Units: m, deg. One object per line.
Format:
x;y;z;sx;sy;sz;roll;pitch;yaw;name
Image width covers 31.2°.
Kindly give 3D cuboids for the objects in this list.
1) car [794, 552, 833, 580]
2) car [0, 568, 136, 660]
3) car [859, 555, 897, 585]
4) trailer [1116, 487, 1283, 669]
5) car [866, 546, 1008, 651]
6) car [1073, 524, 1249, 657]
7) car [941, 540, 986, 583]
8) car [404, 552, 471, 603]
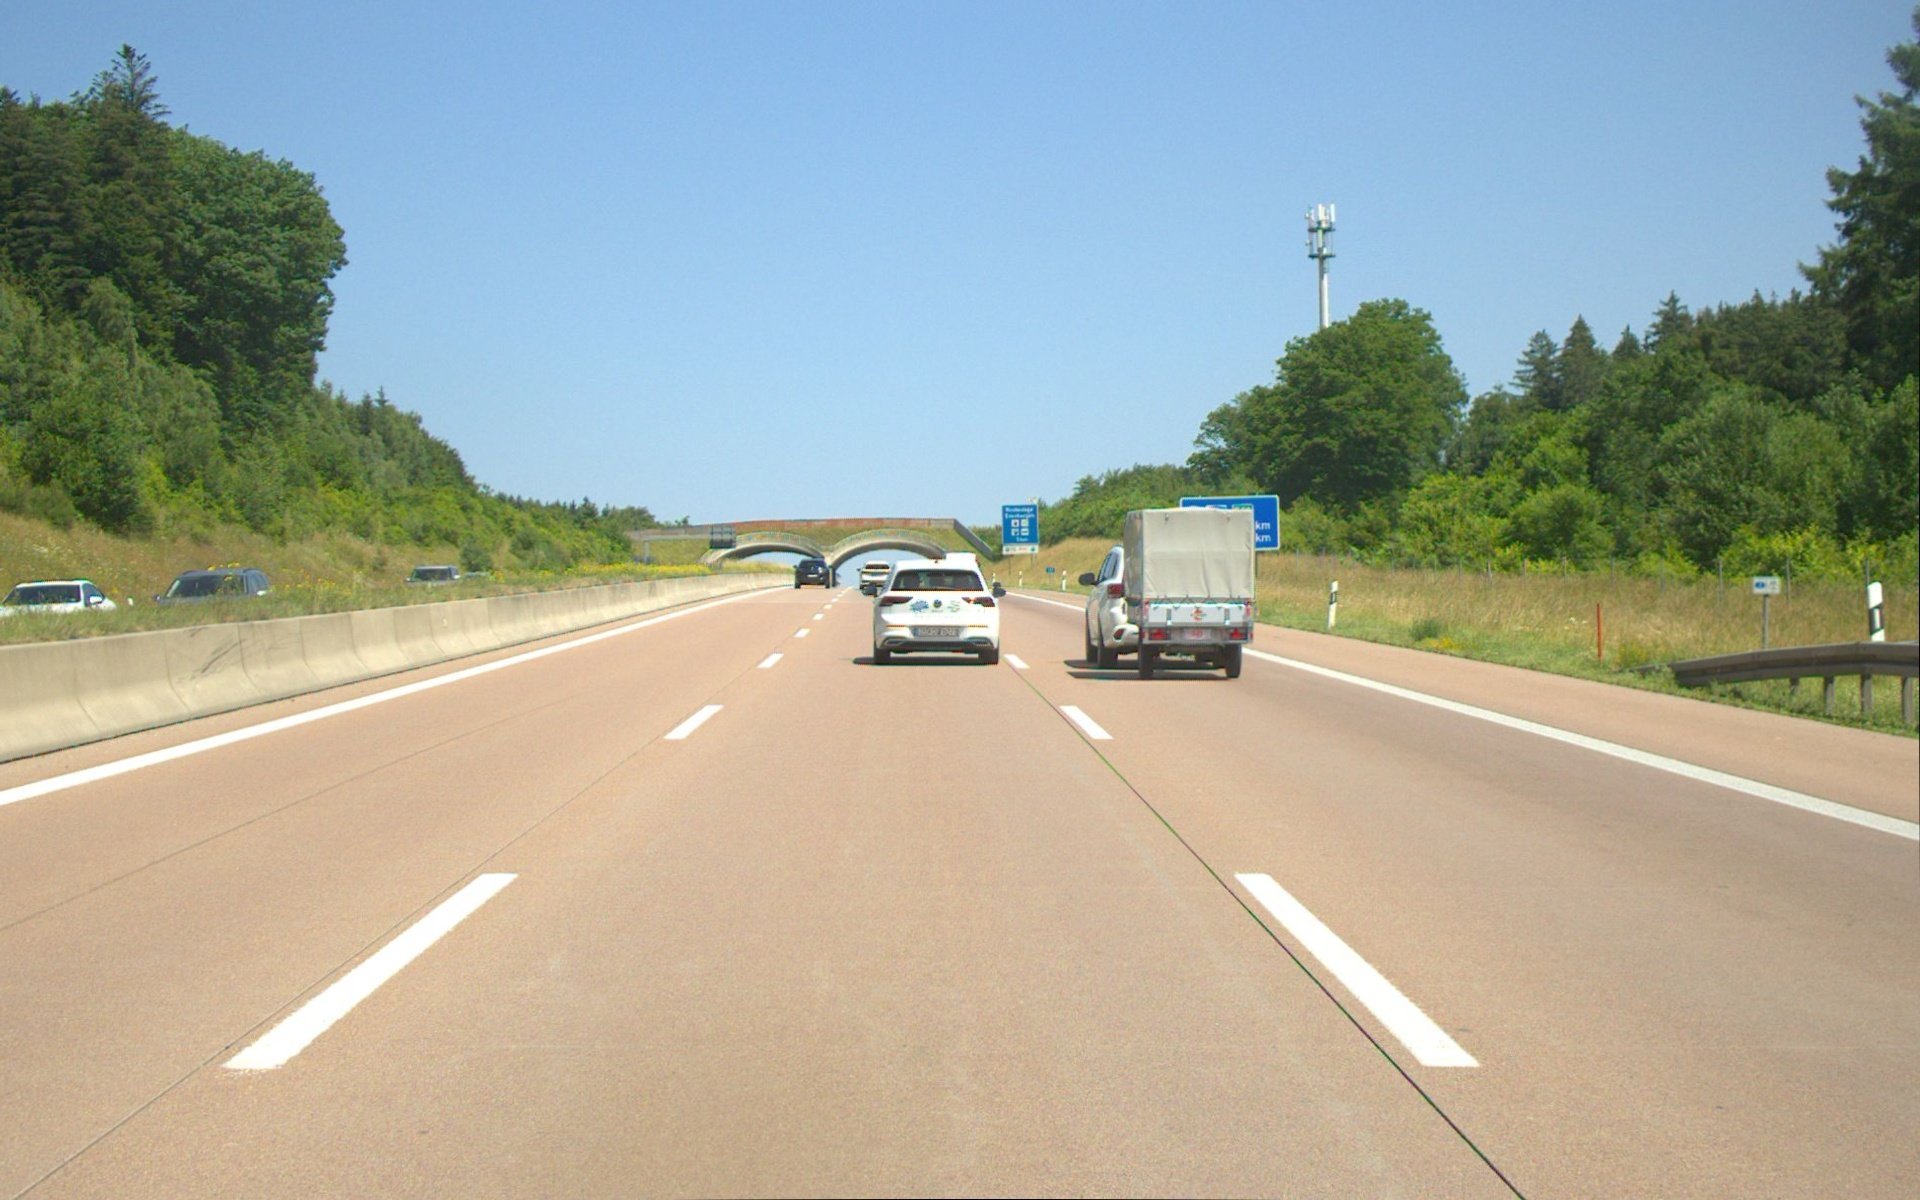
-7.950;-1.871;186.575;1.891;1.458;4.000;0;1;1;car
-16.649;0.220;63.441;1.891;1.588;4.464;0;1;-1;car
-4.205;-1.548;176.692;1.891;1.458;4.000;1;1;-1;car
2.940;-0.283;42.895;1.657;2.156;4.016;0;1;-2;trailer
-0.363;-0.044;48.356;1.890;1.393;4.000;1;1;-2;car
2.704;-0.154;47.452;1.890;1.722;5.187;0;1;-3;car
0.186;-1.901;168.550;2.110;2.047;4.000;0;1;1;car
-18.487;-0.813;121.741;1.890;1.732;4.464;0;1;-3;car
